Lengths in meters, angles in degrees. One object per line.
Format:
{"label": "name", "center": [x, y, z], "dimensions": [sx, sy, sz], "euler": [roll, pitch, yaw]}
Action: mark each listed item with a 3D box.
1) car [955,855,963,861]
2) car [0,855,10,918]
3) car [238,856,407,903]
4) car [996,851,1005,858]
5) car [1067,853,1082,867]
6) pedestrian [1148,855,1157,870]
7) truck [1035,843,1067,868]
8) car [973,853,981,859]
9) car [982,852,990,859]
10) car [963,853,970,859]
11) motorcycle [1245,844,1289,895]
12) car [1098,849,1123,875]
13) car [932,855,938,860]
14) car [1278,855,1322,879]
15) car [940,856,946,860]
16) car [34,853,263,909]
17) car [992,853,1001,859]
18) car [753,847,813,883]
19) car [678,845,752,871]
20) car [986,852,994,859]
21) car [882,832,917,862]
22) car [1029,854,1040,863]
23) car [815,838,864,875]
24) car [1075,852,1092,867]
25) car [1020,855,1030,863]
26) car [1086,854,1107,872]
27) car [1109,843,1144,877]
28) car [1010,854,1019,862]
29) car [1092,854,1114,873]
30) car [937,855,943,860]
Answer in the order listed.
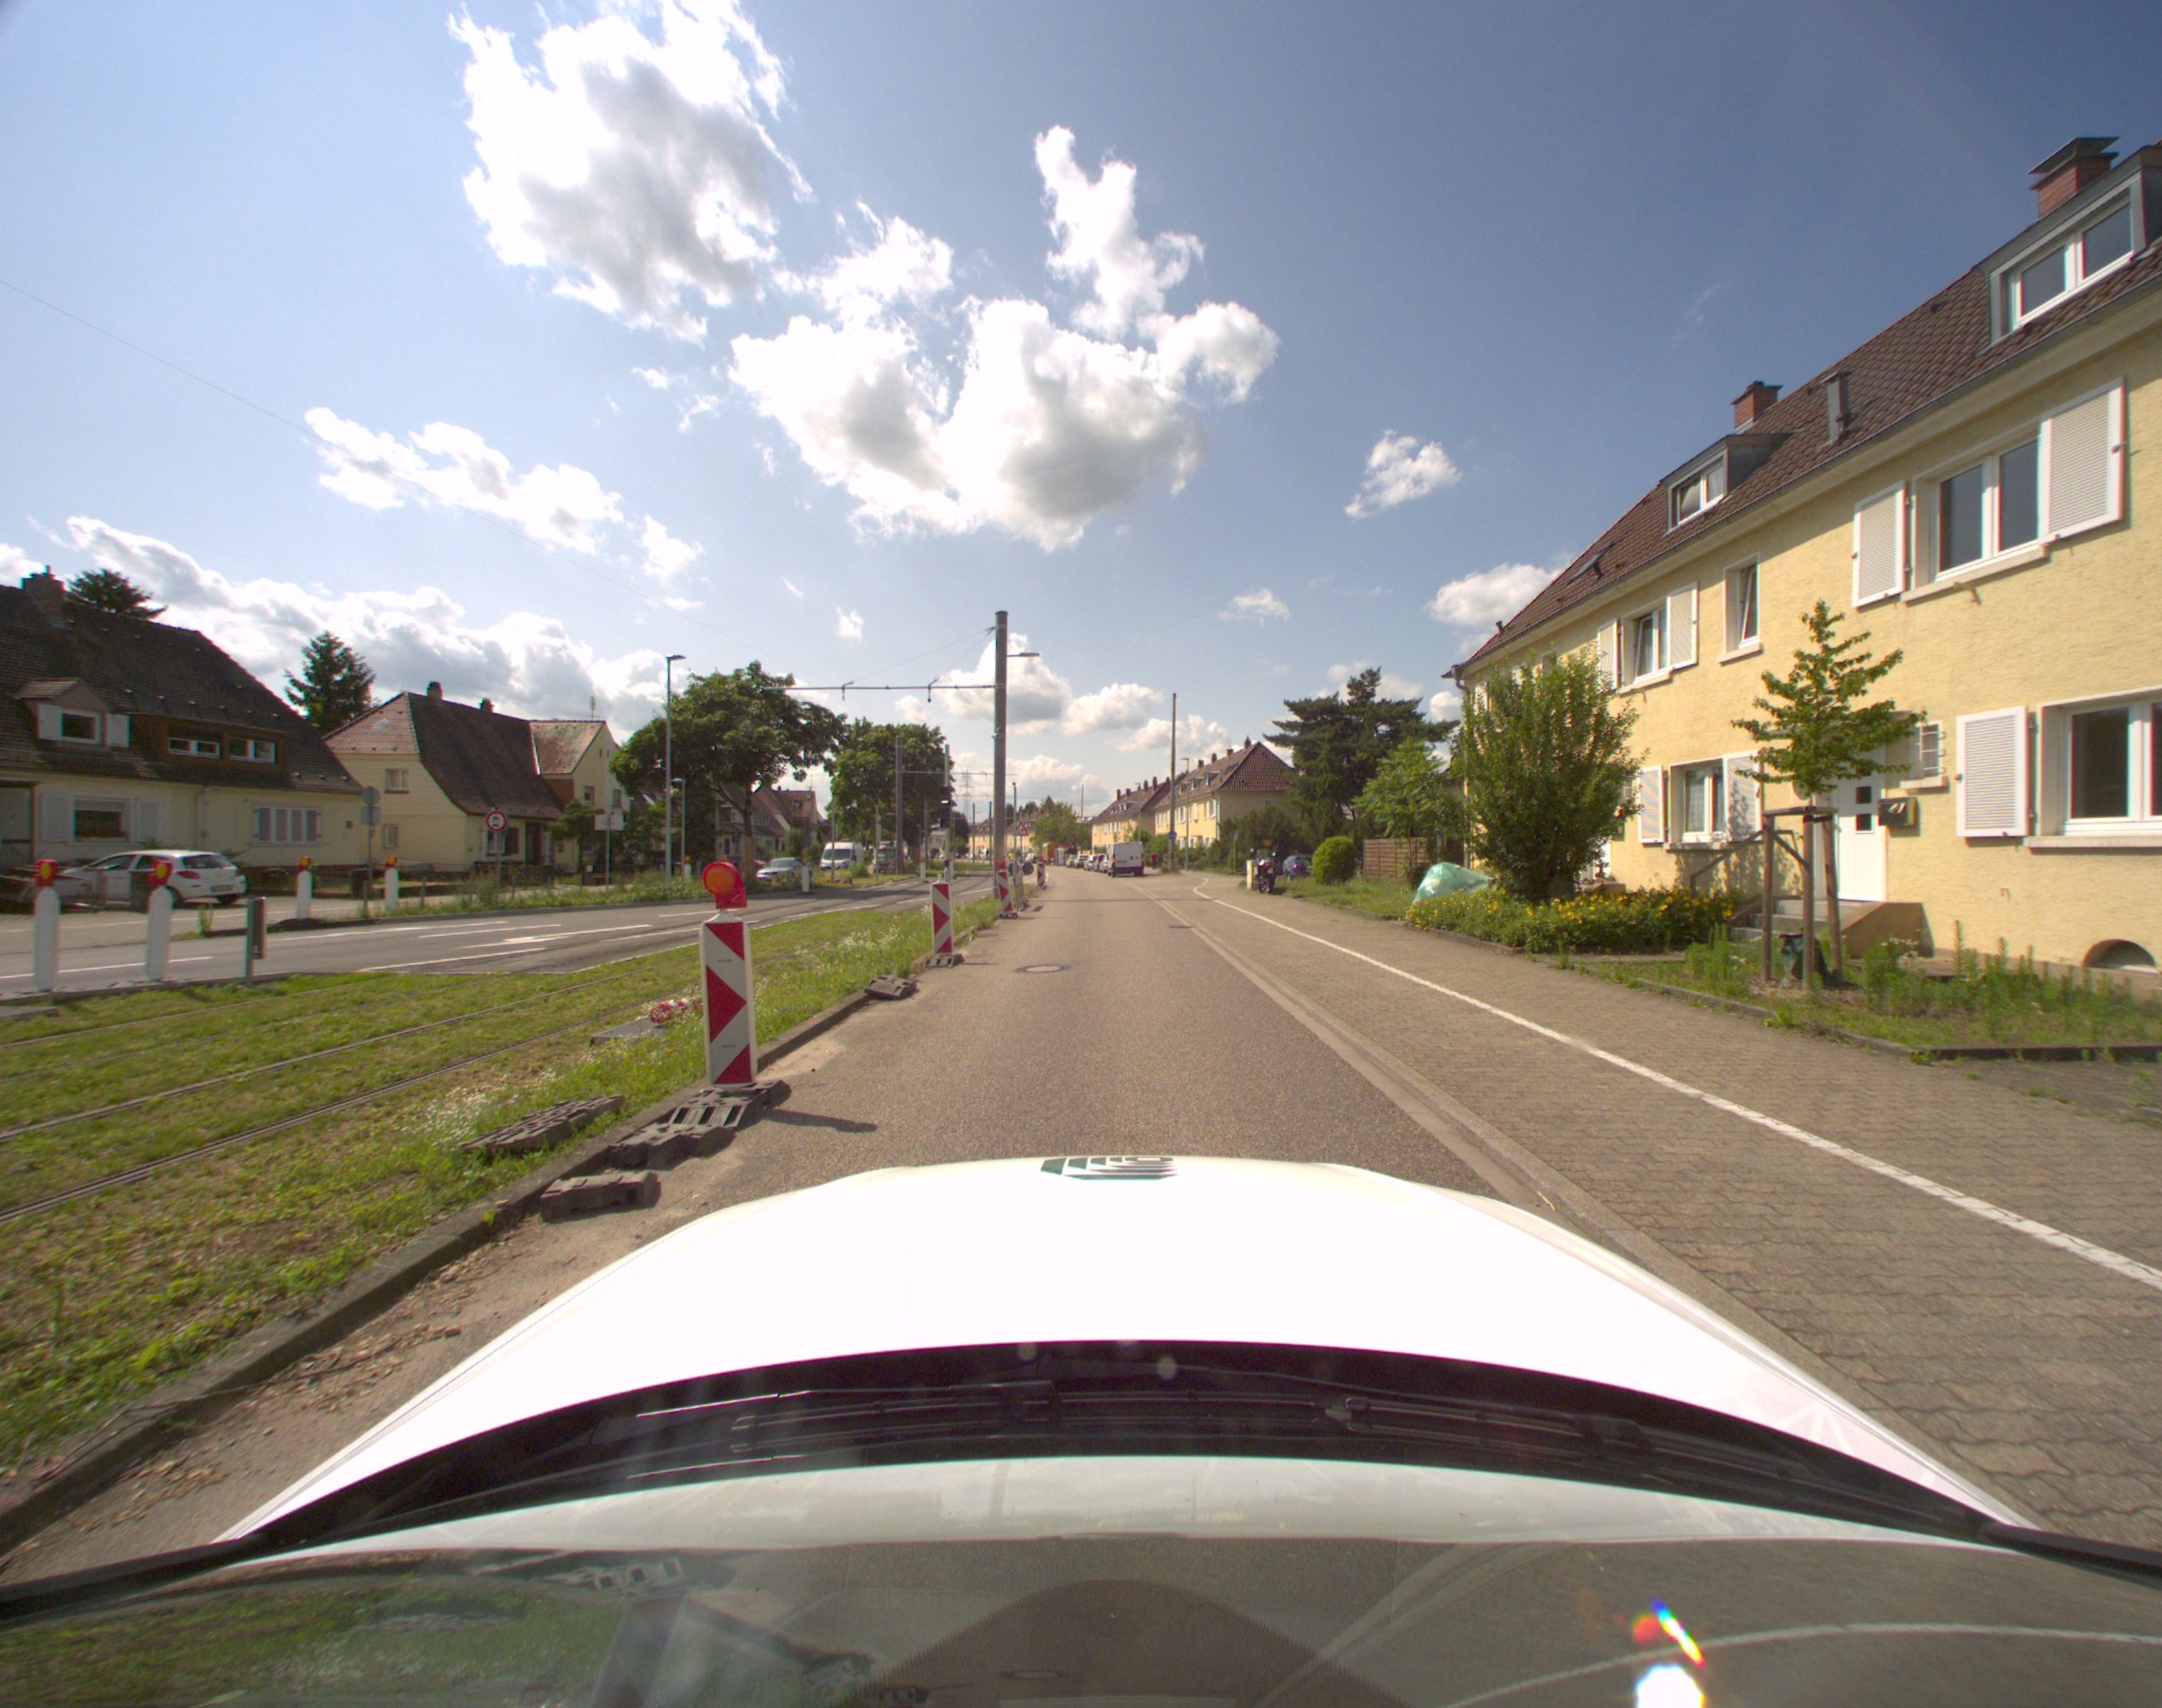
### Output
{"label": "car", "center": [-29.797, 0.902, 198.541], "dimensions": [1.264, 1.426, 2.643], "euler": [0, 0, -25]}
{"label": "car", "center": [-26.076, 0.739, 17.480], "dimensions": [3.607, 1.404, 1.940], "euler": [0, 0, 1]}
{"label": "car", "center": [-24.730, 0.821, 26.635], "dimensions": [3.971, 1.398, 1.705], "euler": [1, 1, 2]}
{"label": "car", "center": [-15.914, 0.029, 161.113], "dimensions": [1.260, 1.350, 2.650], "euler": [0, 0, -17]}
{"label": "car", "center": [-0.750, 0.699, 92.231], "dimensions": [1.564, 1.551, 3.474], "euler": [0, 0, -4]}
{"label": "pedestrian", "center": [6.197, 0.724, 70.234], "dimensions": [0.631, 1.255, 0.725], "euler": [0, 0, -6]}
{"label": "truck", "center": [-4.372, 0.212, 116.115], "dimensions": [2.644, 3.494, 9.393], "euler": [0, 0, -14]}
{"label": "car", "center": [-23.498, 0.396, 184.346], "dimensions": [1.261, 1.426, 2.648], "euler": [0, 0, -19]}
{"label": "car", "center": [-20.296, 0.303, 173.586], "dimensions": [1.169, 1.426, 2.649], "euler": [0, 0, -18]}
{"label": "car", "center": [-26.934, 0.557, 191.471], "dimensions": [1.262, 1.426, 2.646], "euler": [0, 0, -21]}
{"label": "motorcycle", "center": [6.200, 0.499, 27.309], "dimensions": [1.062, 1.635, 2.084], "euler": [0, 0, 2]}
{"label": "car", "center": [2.262, 0.614, 63.192], "dimensions": [1.564, 1.897, 3.784], "euler": [0, 0, -4]}
{"label": "car", "center": [-39.972, 0.958, 222.940], "dimensions": [1.261, 1.426, 2.649], "euler": [0, 0, -18]}
{"label": "car", "center": [9.925, 0.572, 37.003], "dimensions": [1.307, 1.029, 2.770], "euler": [0, 0, 2]}
{"label": "car", "center": [-36.248, 1.031, 213.614], "dimensions": [1.260, 1.186, 2.650], "euler": [0, 0, -17]}
{"label": "car", "center": [-25.525, 0.713, 22.408], "dimensions": [4.091, 1.466, 1.992], "euler": [0, 0, 2]}
{"label": "car", "center": [-17.174, 0.383, 165.029], "dimensions": [1.260, 1.350, 2.650], "euler": [0, 0, -17]}
{"label": "car", "center": [-15.652, 0.547, 42.977], "dimensions": [2.093, 1.776, 4.110], "euler": [0, 0, -8]}
{"label": "car", "center": [-25.087, 0.280, 55.984], "dimensions": [4.096, 1.776, 2.100], "euler": [0, 0, -2]}
{"label": "car", "center": [-18.926, 0.332, 169.345], "dimensions": [1.169, 1.426, 2.649], "euler": [0, 0, -18]}
{"label": "car", "center": [-14.839, -0.598, 66.938], "dimensions": [2.405, 2.370, 4.867], "euler": [0, 0, -8]}
{"label": "car", "center": [-7.398, 0.688, 128.467], "dimensions": [1.259, 1.426, 2.652], "euler": [0, 0, -14]}
{"label": "car", "center": [-16.142, 0.149, 54.786], "dimensions": [2.405, 2.338, 4.866], "euler": [0, 0, -8]}
{"label": "car", "center": [0.232, 0.593, 85.804], "dimensions": [1.564, 1.551, 3.474], "euler": [0, 0, -4]}
{"label": "car", "center": [-9.427, 0.811, 137.852], "dimensions": [1.259, 1.426, 2.652], "euler": [0, 0, -14]}
{"label": "car", "center": [1.394, 0.796, 74.006], "dimensions": [1.564, 1.551, 3.784], "euler": [0, 0, -4]}
{"label": "car", "center": [2.925, 0.365, 53.534], "dimensions": [2.059, 2.149, 4.878], "euler": [0, 0, 0]}
{"label": "car", "center": [-12.281, 0.793, 149.945], "dimensions": [1.260, 1.426, 2.651], "euler": [0, 0, -15]}
{"label": "car", "center": [1.828, 0.752, 68.504], "dimensions": [1.564, 1.551, 3.784], "euler": [0, 0, -4]}
{"label": "car", "center": [-37.715, 0.946, 217.983], "dimensions": [1.260, 1.426, 2.650], "euler": [0, 0, -16]}
